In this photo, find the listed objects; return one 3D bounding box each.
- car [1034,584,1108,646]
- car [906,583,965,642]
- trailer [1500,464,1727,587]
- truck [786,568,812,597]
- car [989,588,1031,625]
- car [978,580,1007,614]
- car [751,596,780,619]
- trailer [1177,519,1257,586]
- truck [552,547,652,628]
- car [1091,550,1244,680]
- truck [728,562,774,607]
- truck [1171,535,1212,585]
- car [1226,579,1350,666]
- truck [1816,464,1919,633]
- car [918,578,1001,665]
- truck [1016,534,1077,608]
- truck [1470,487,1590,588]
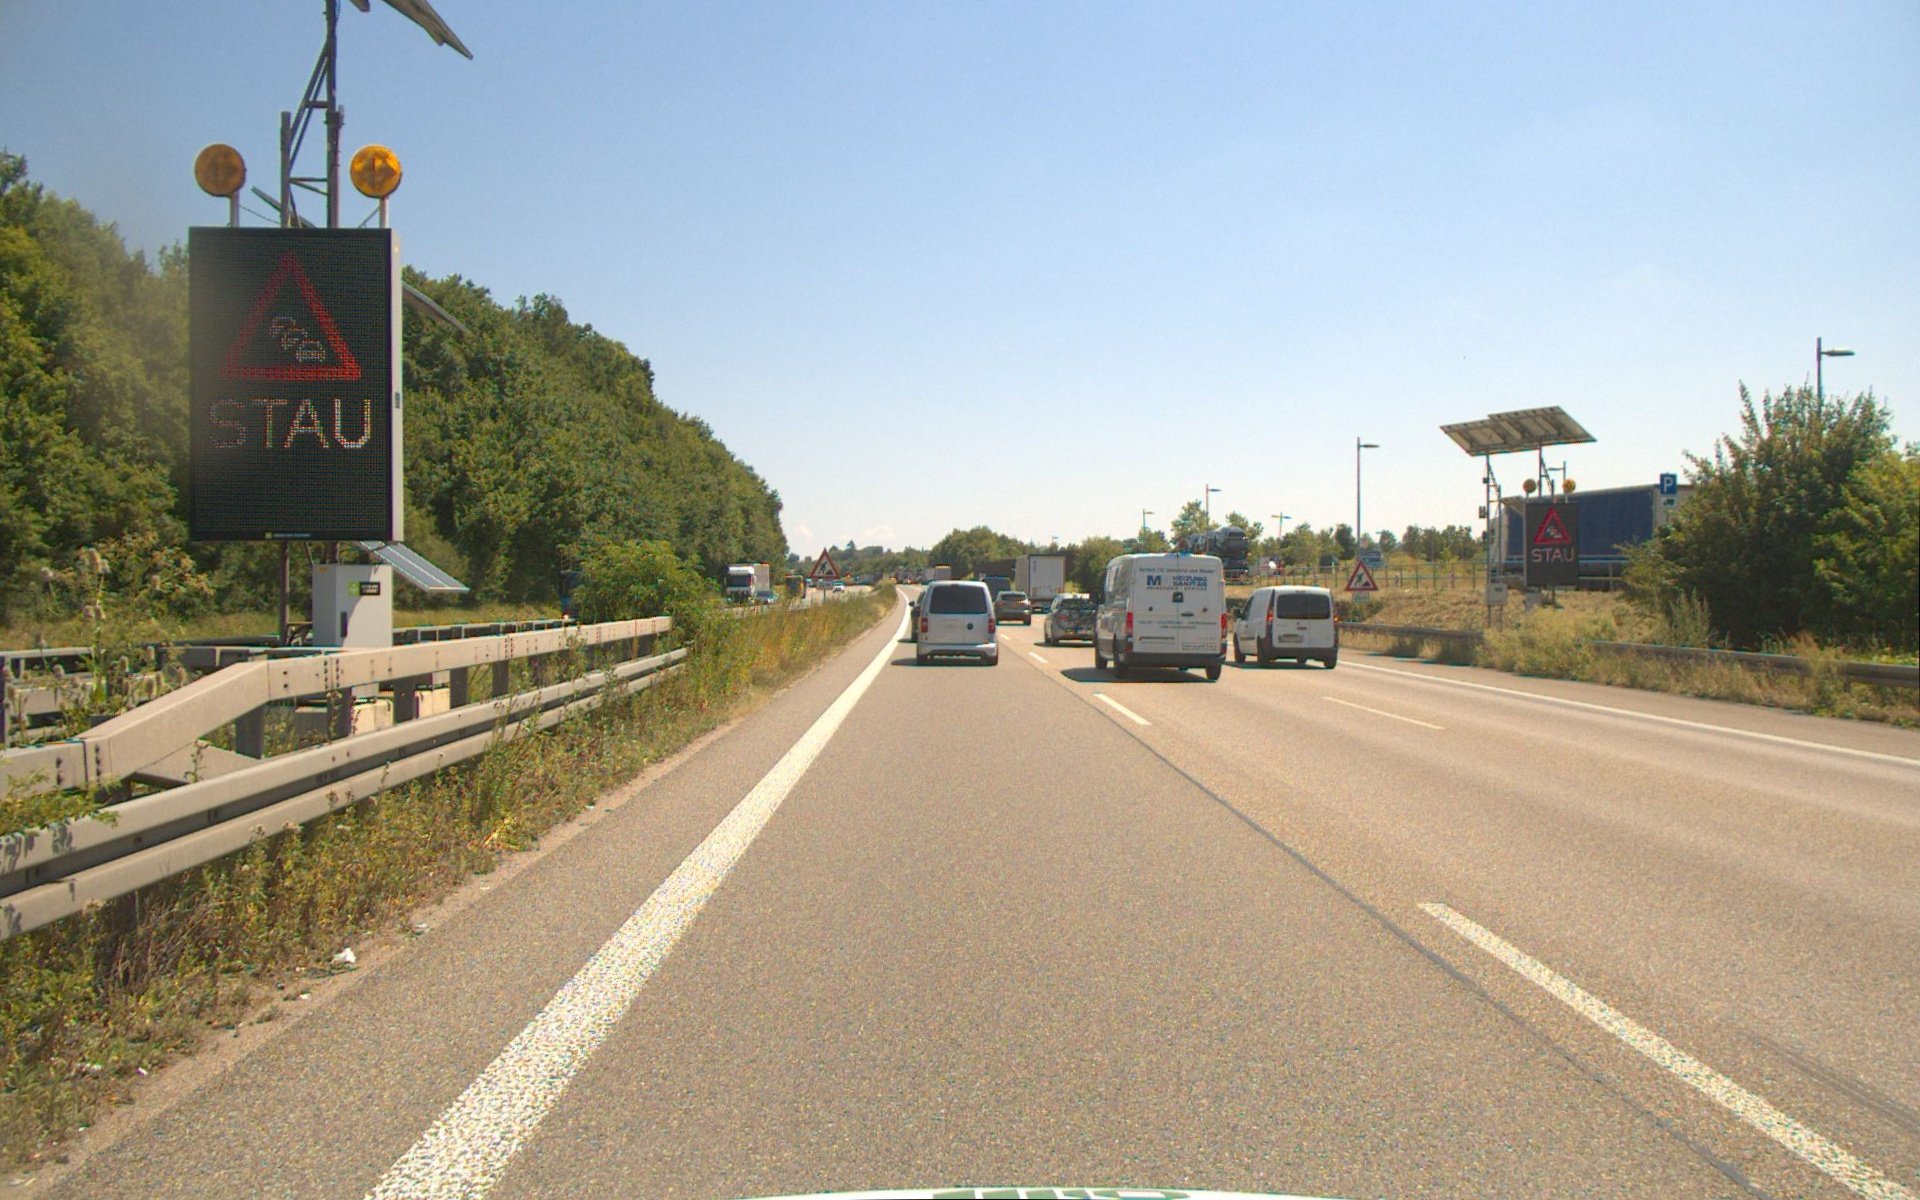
[{"bbox_3d":[3.284,0.431,49.710,1.935,1.763,4.088,-1,0,0],"label":"car"},{"bbox_3d":[-0.725,0.379,51.667,1.709,1.731,4.088,-1,0,0],"label":"car"},{"bbox_3d":[25.333,-2.663,65.354,2.990,4.154,14.254,1,0,-1],"label":"trailer"},{"bbox_3d":[-22.240,-2.367,229.264,2.726,3.804,11.153,1,0,-2],"label":"truck"},{"bbox_3d":[2.379,0.294,79.218,1.863,1.701,4.088,-1,0,0],"label":"car"},{"bbox_3d":[1.877,-0.183,96.734,1.640,1.925,4.088,-1,0,0],"label":"car"},{"bbox_3d":[-14.881,0.543,126.580,1.689,1.685,4.859,-2,0,-2],"label":"car"},{"bbox_3d":[18.841,-3.345,122.590,2.553,4.332,18.416,1,0,-1],"label":"trailer"},{"bbox_3d":[-18.251,-0.598,85.033,2.935,3.868,10.787,-1,0,-1],"label":"truck"},{"bbox_3d":[3.922,0.267,32.256,2.138,2.293,5.361,1,0,-2],"label":"car"},{"bbox_3d":[-19.761,-1.447,157.274,3.384,4.064,11.118,-1,0,-3],"label":"truck"},{"bbox_3d":[18.594,-3.183,132.937,2.549,3.894,3.999,1,0,-2],"label":"truck"},{"bbox_3d":[7.506,0.494,38.240,1.911,1.870,4.176,-1,0,-2],"label":"car"},{"bbox_3d":[25.434,-1.231,39.246,3.711,4.154,12.517,1,0,0],"label":"truck"},{"bbox_3d":[-0.007,0.444,36.560,1.709,1.795,4.088,-1,0,0],"label":"car"},{"bbox_3d":[6.173,-1.991,120.343,3.710,5.087,12.518,1,0,0],"label":"truck"},{"bbox_3d":[25.137,-2.656,73.281,2.990,4.154,6.397,1,0,0],"label":"truck"}]
